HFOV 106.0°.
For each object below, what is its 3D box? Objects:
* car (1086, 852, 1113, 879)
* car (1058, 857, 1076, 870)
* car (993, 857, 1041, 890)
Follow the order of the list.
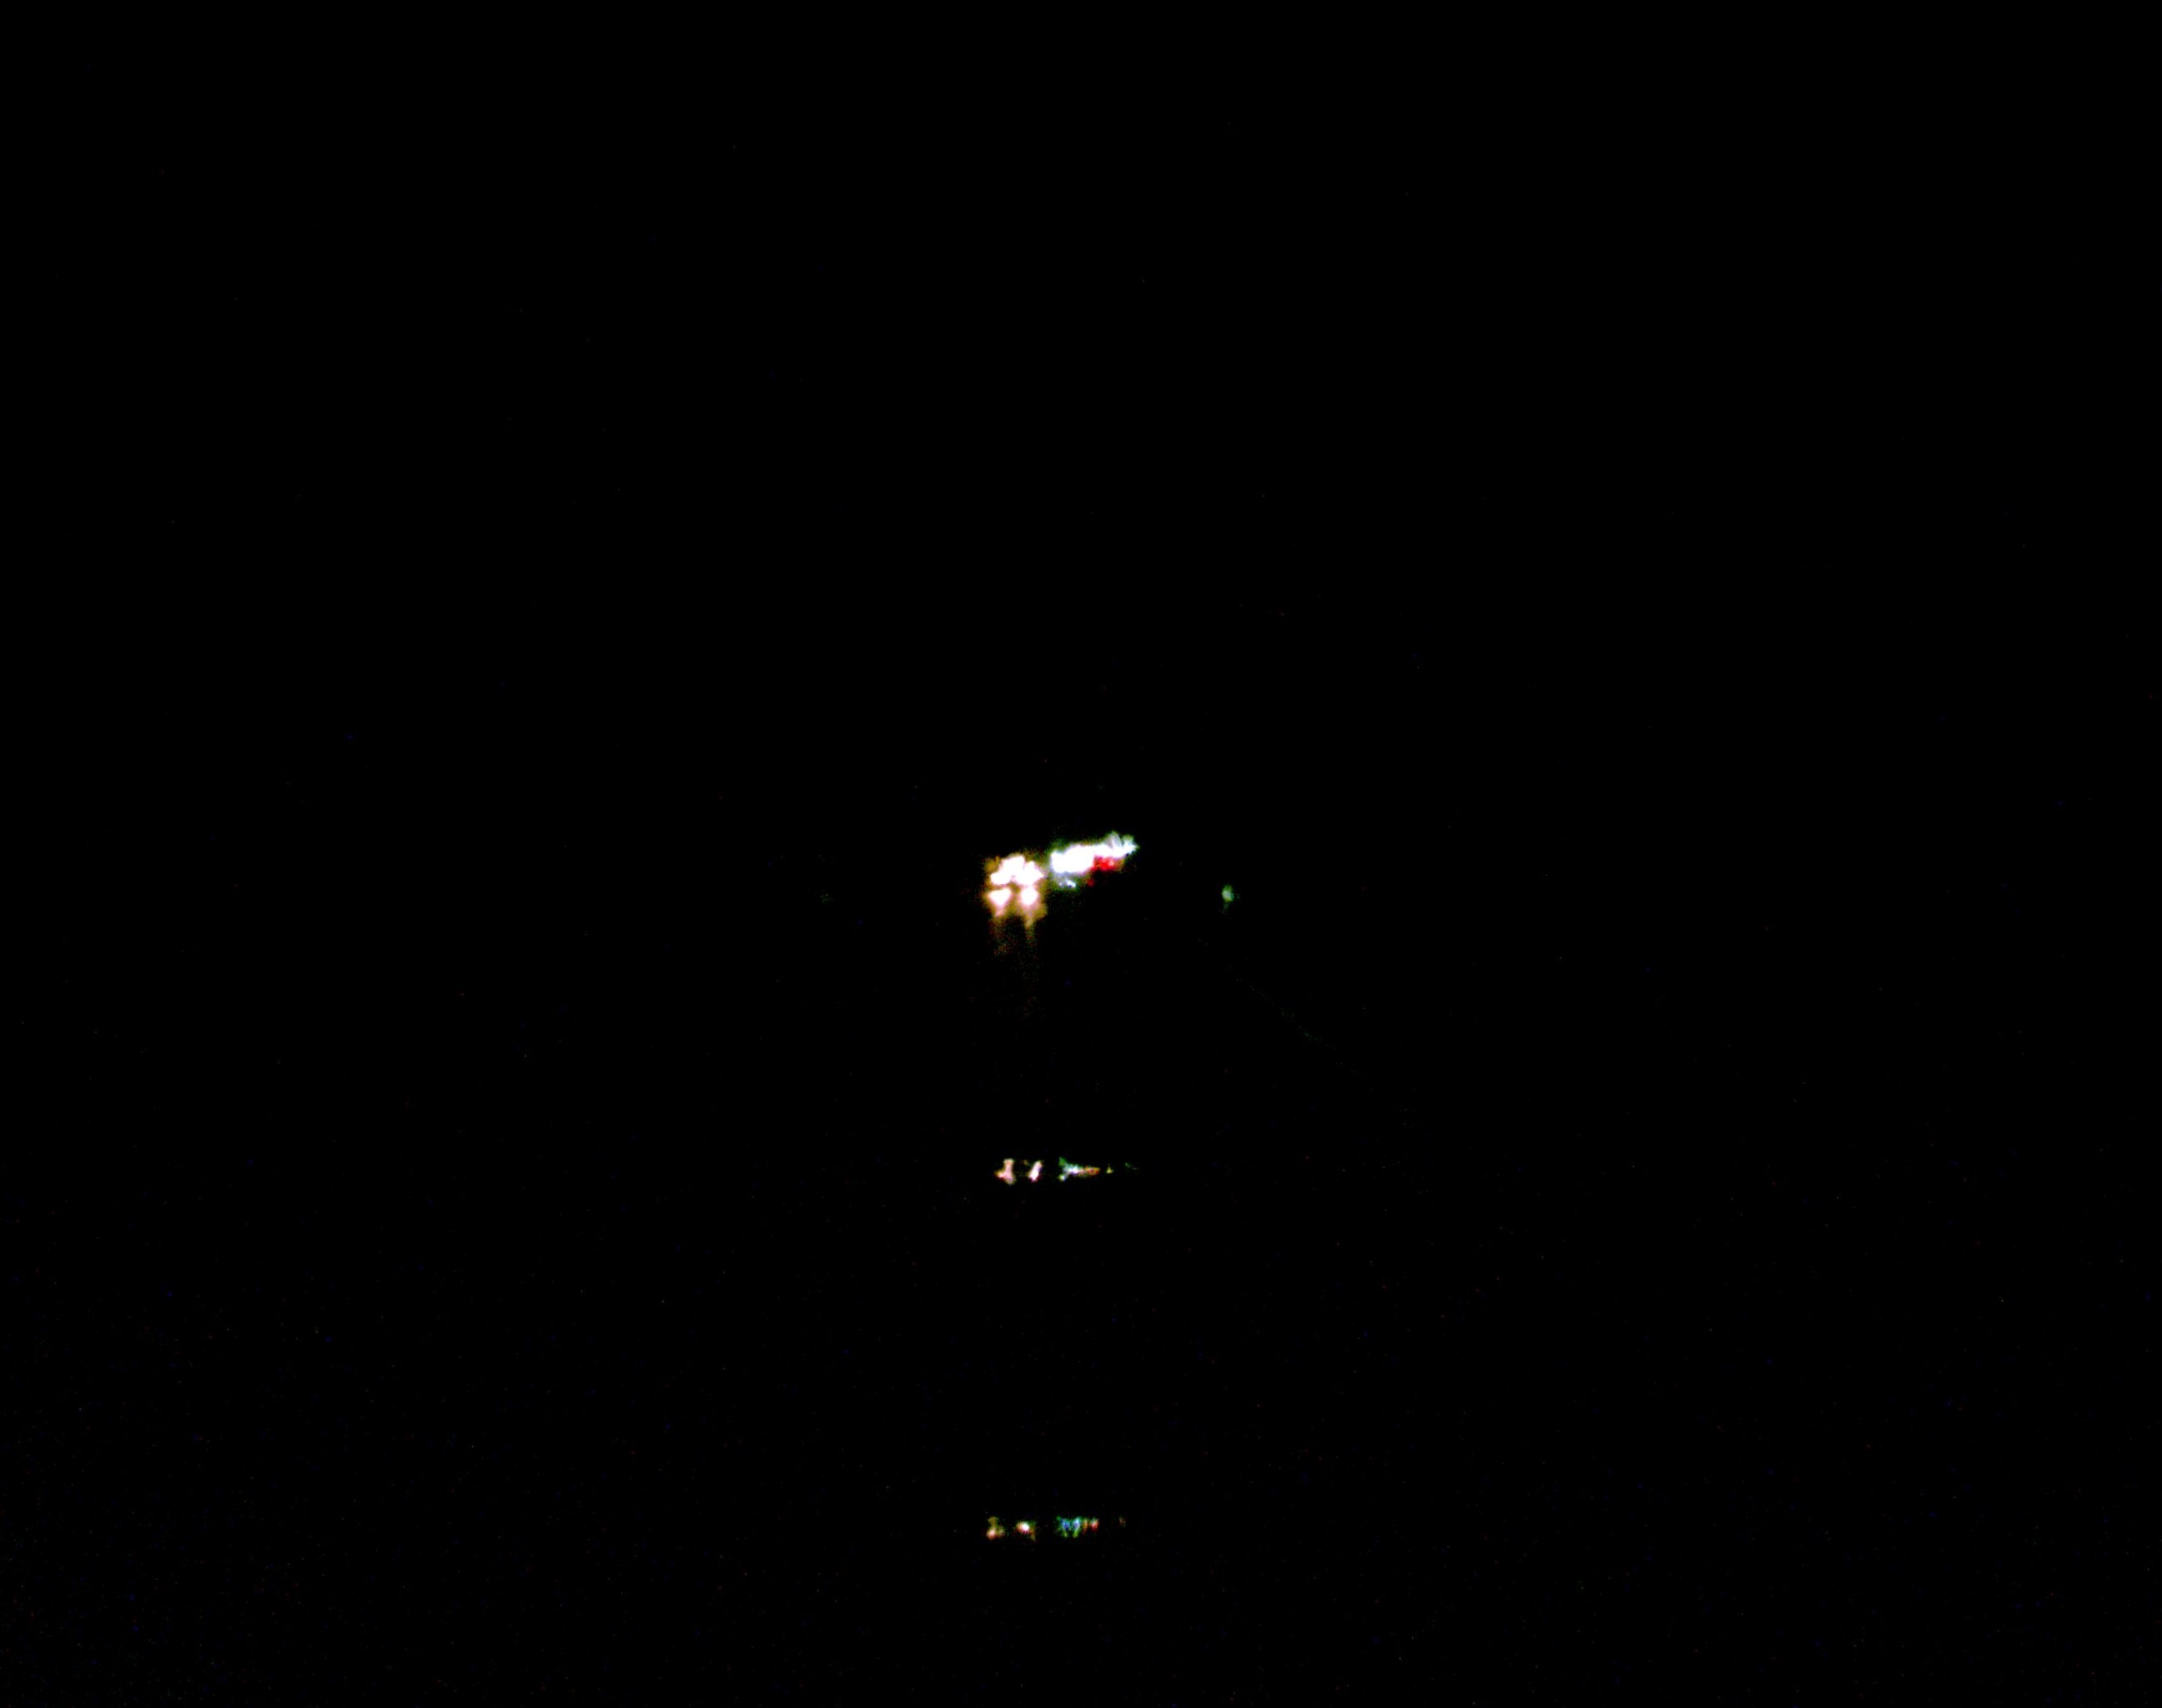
[{"bbox_3d":[1.301,0.795,58.044,1.836,1.740,4.002,1,1,1],"label":"car"},{"bbox_3d":[-1.832,1.190,105.539,1.990,1.661,3.993,0,0,-5],"label":"car"},{"bbox_3d":[-3.183,0.954,41.198,1.986,1.549,4.001,-1,0,1],"label":"car"}]
